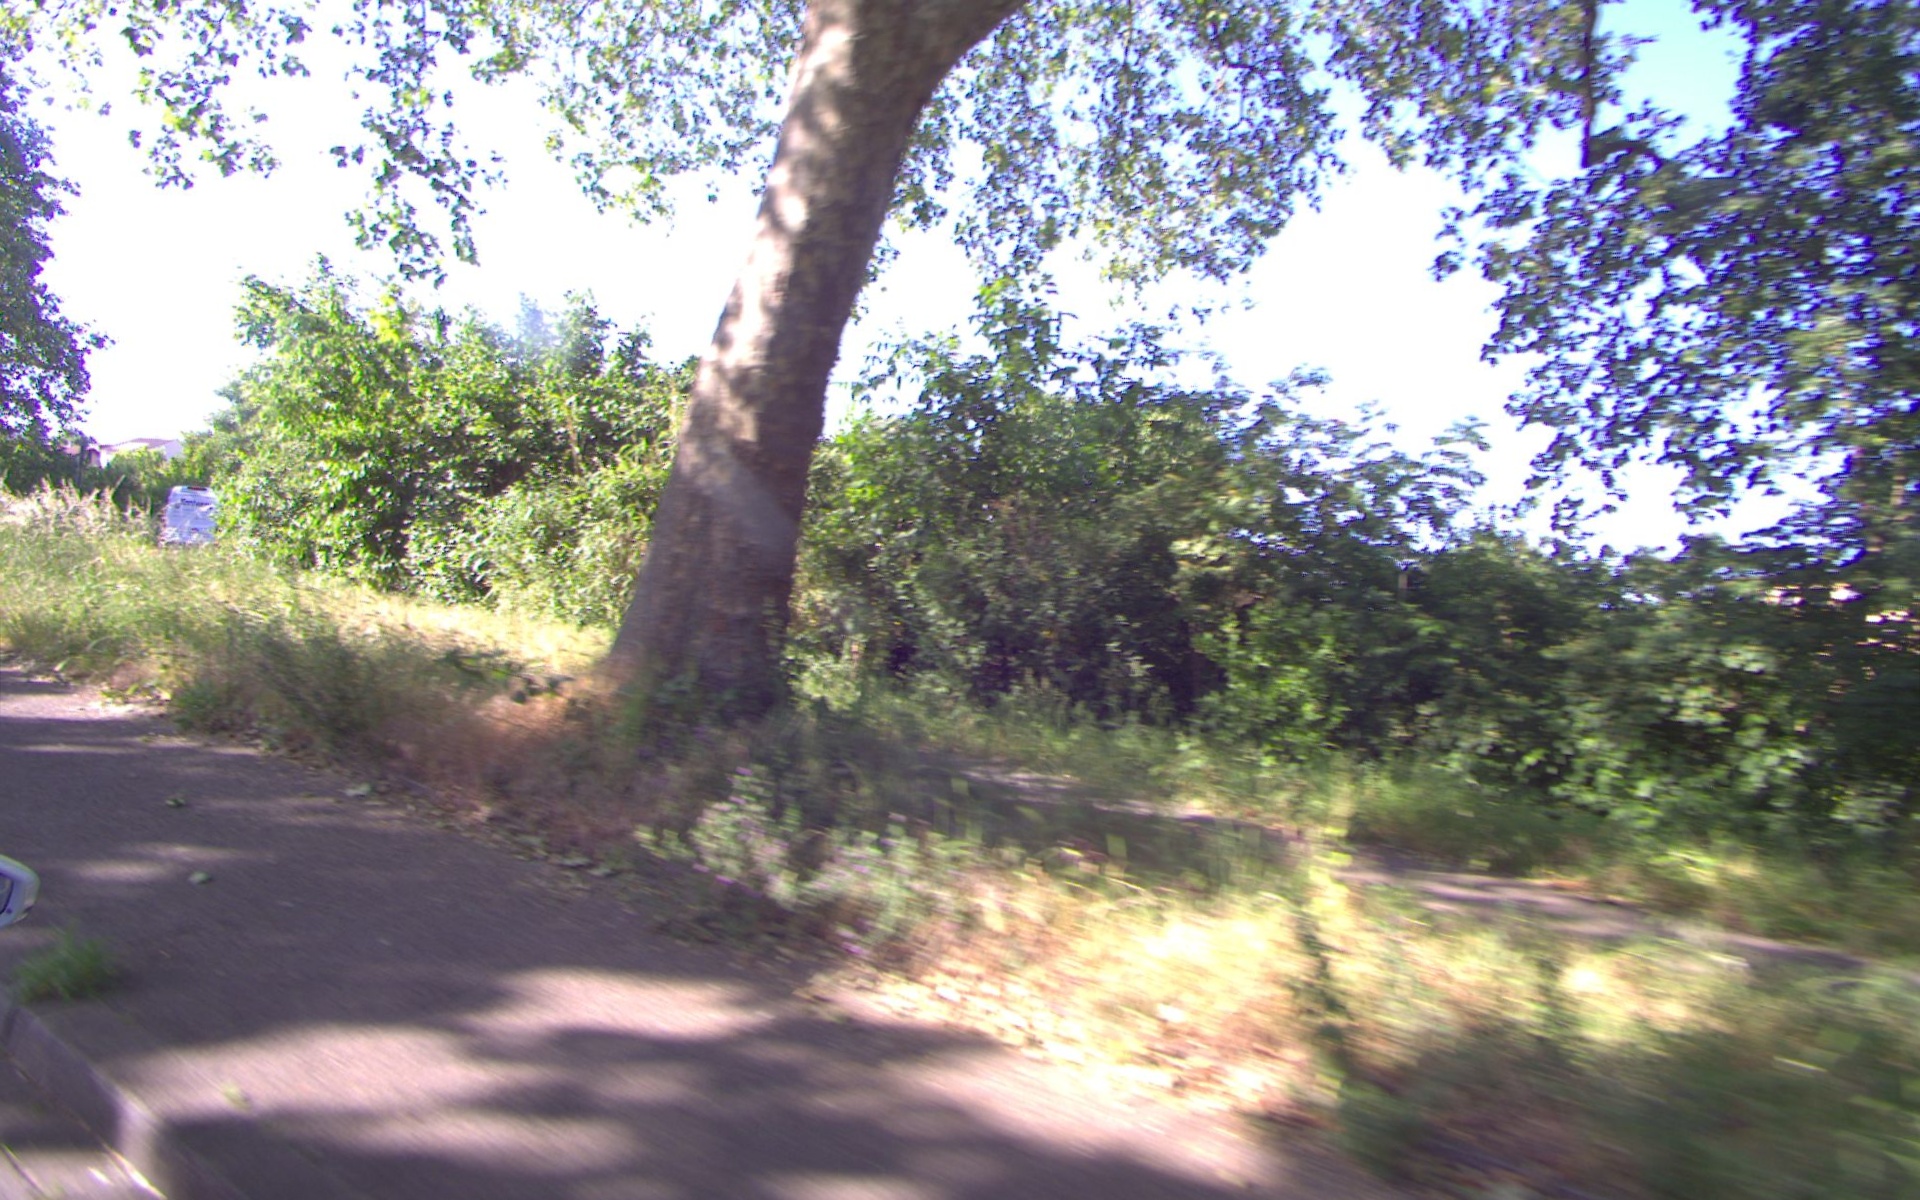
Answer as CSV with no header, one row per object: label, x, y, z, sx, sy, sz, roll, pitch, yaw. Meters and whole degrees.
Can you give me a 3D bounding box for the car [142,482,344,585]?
car,-22.964,-2.041,32.545,2.285,2.467,5.006,7,-2,8
